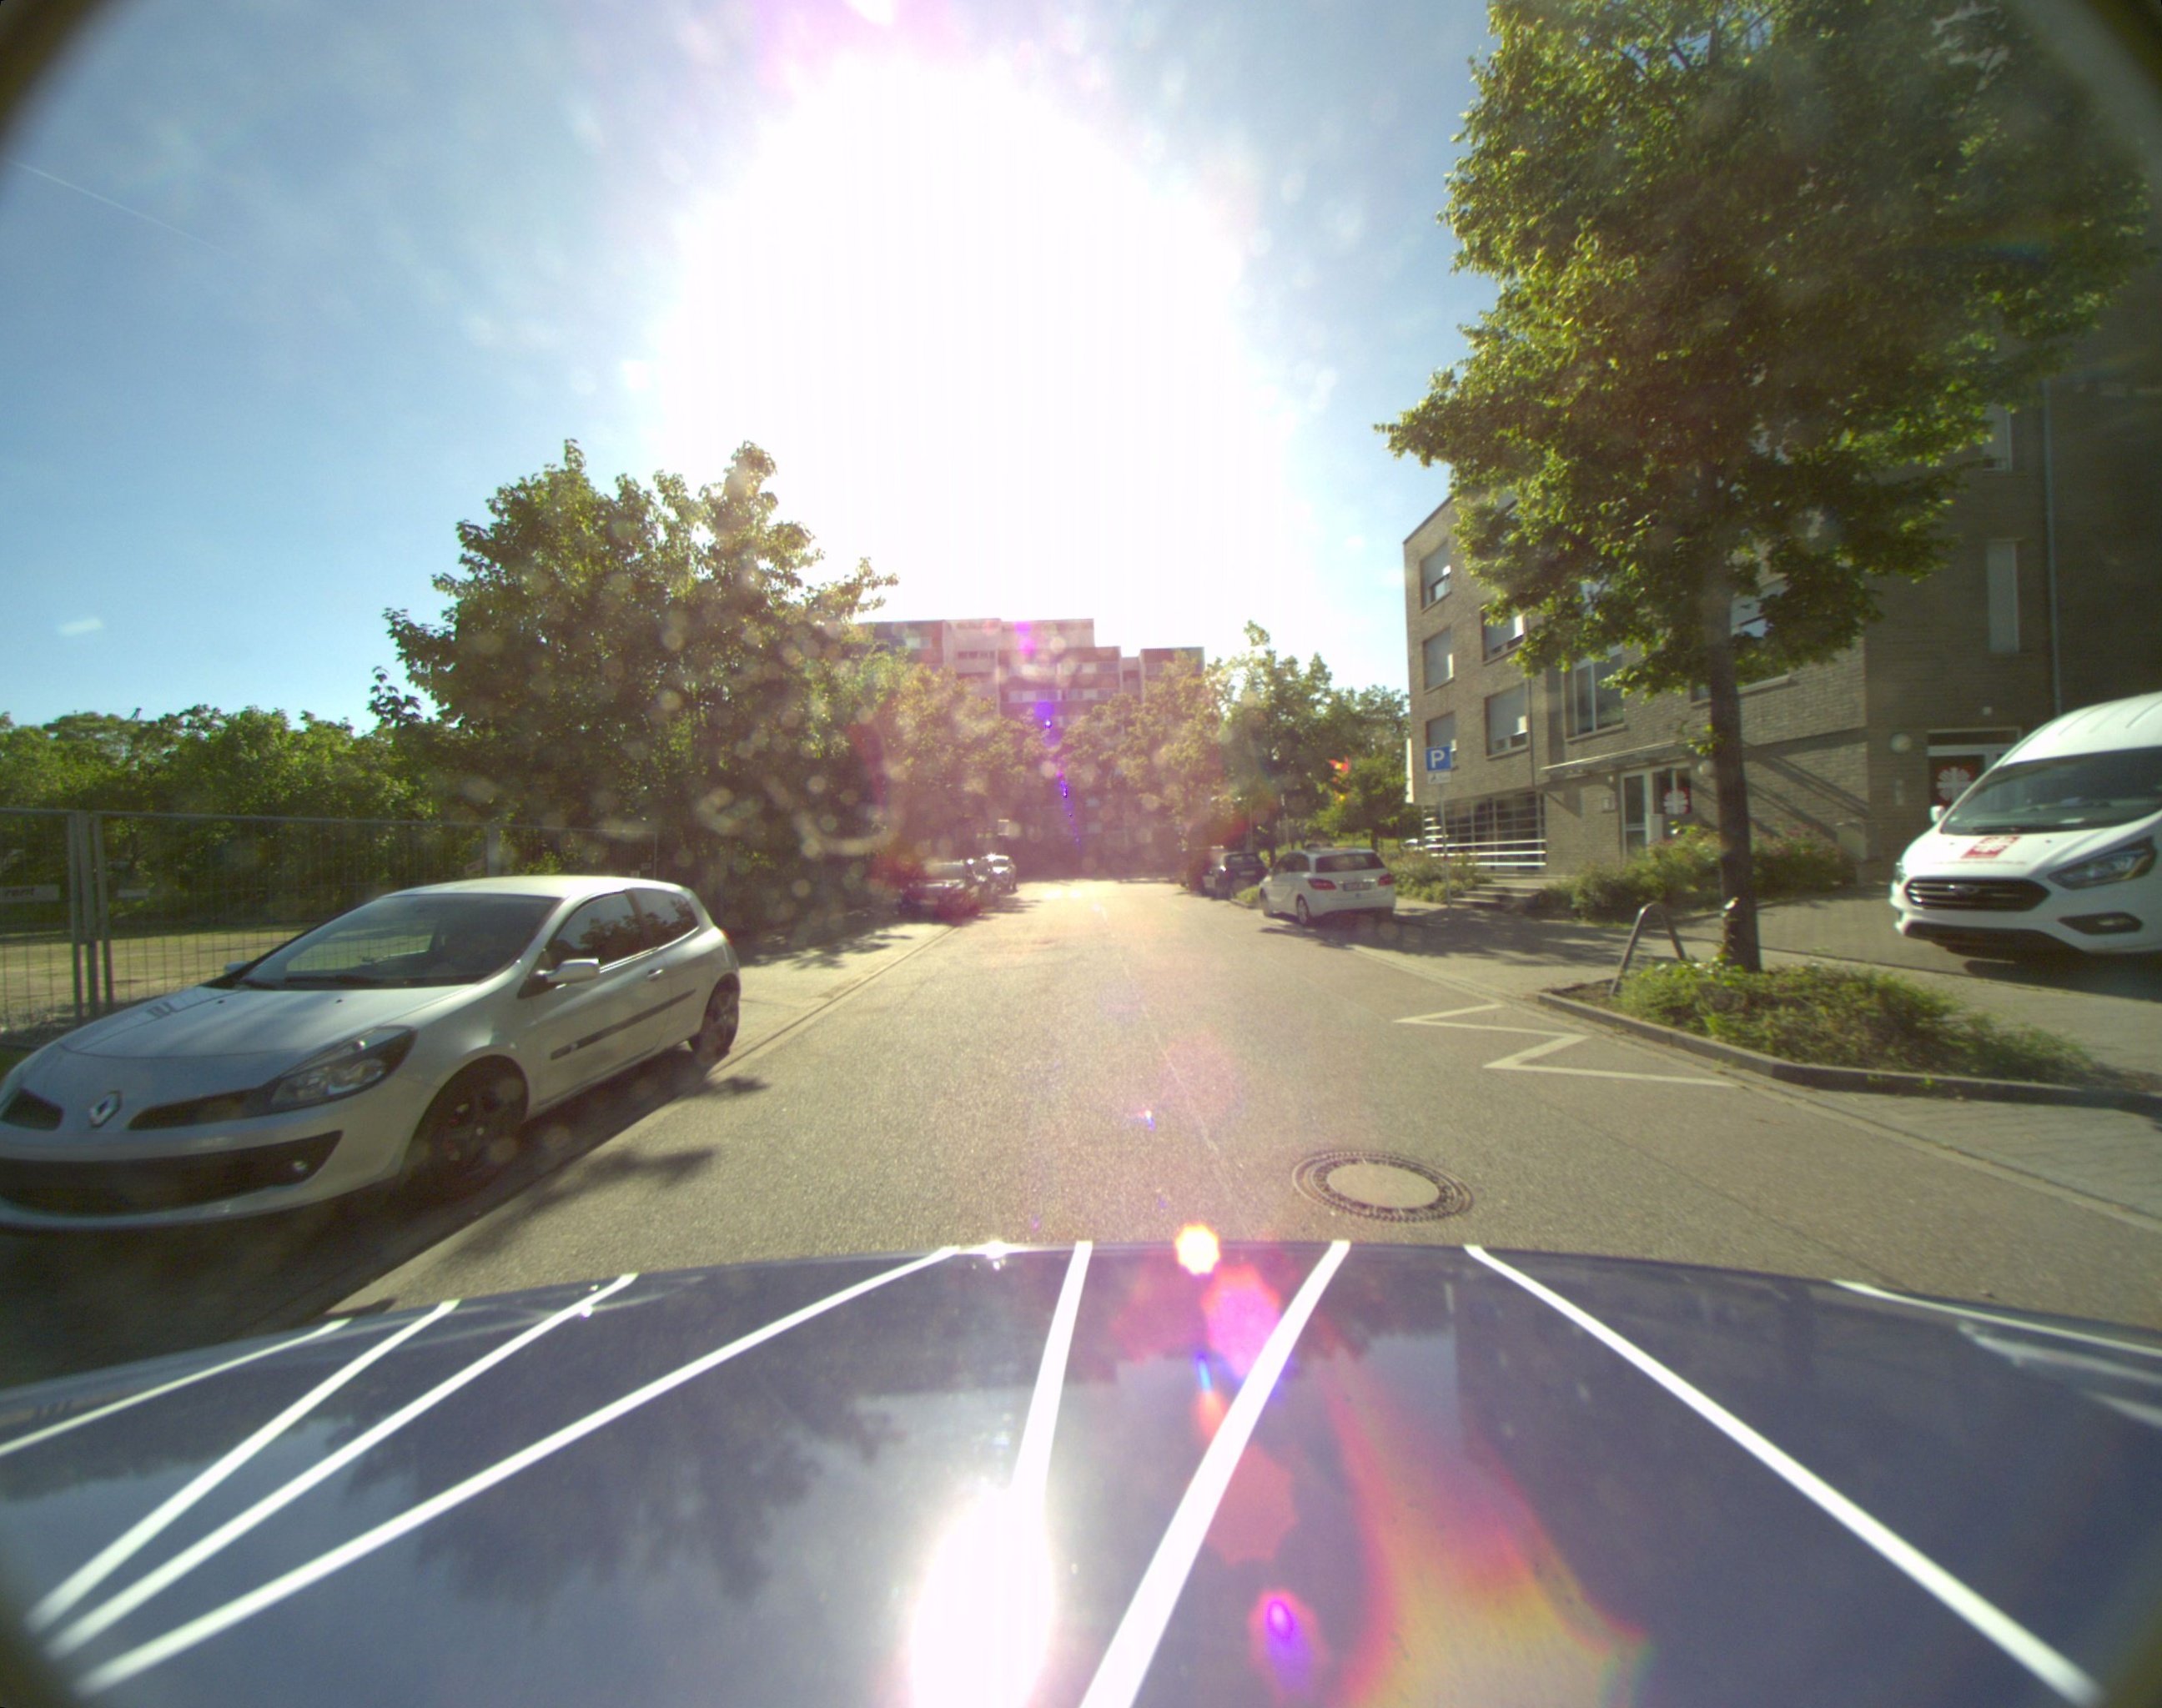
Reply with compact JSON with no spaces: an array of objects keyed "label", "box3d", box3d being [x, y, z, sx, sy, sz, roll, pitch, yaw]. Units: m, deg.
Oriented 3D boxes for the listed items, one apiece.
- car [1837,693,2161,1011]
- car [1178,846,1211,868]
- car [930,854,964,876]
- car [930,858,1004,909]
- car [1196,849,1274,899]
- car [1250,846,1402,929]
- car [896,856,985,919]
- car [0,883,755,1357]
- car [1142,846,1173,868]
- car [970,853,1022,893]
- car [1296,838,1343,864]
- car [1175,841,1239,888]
[{"label":"car","box3d":[10.848,-0.381,7.181,5.460,2.369,1.921,-10,1,-3]},{"label":"car","box3d":[8.451,0.168,56.706,1.821,1.379,3.998,-2,3,0]},{"label":"car","box3d":[-9.956,0.776,56.725,1.716,1.443,3.999,-2,2,0]},{"label":"car","box3d":[-3.799,0.931,25.963,1.829,1.463,4.068,-2,1,0]},{"label":"car","box3d":[4.988,0.605,25.066,1.582,1.495,3.789,-2,0,-3]},{"label":"car","box3d":[5.104,0.633,16.488,1.664,1.523,4.285,-2,0,-4]},{"label":"car","box3d":[-3.750,0.837,21.029,1.680,1.429,4.438,-2,1,-1]},{"label":"car","box3d":[-3.706,1.005,4.608,1.667,1.504,4.001,-2,-1,0]},{"label":"car","box3d":[5.672,0.193,56.635,1.700,1.490,3.818,-2,2,-3]},{"label":"car","box3d":[-3.584,0.772,32.658,1.623,1.443,4.090,-2,2,1]},{"label":"car","box3d":[17.619,-0.259,56.403,1.998,1.769,4.600,-2,1,0]},{"label":"car","box3d":[5.011,0.368,30.766,1.891,1.610,4.338,-4,1,1]}]
